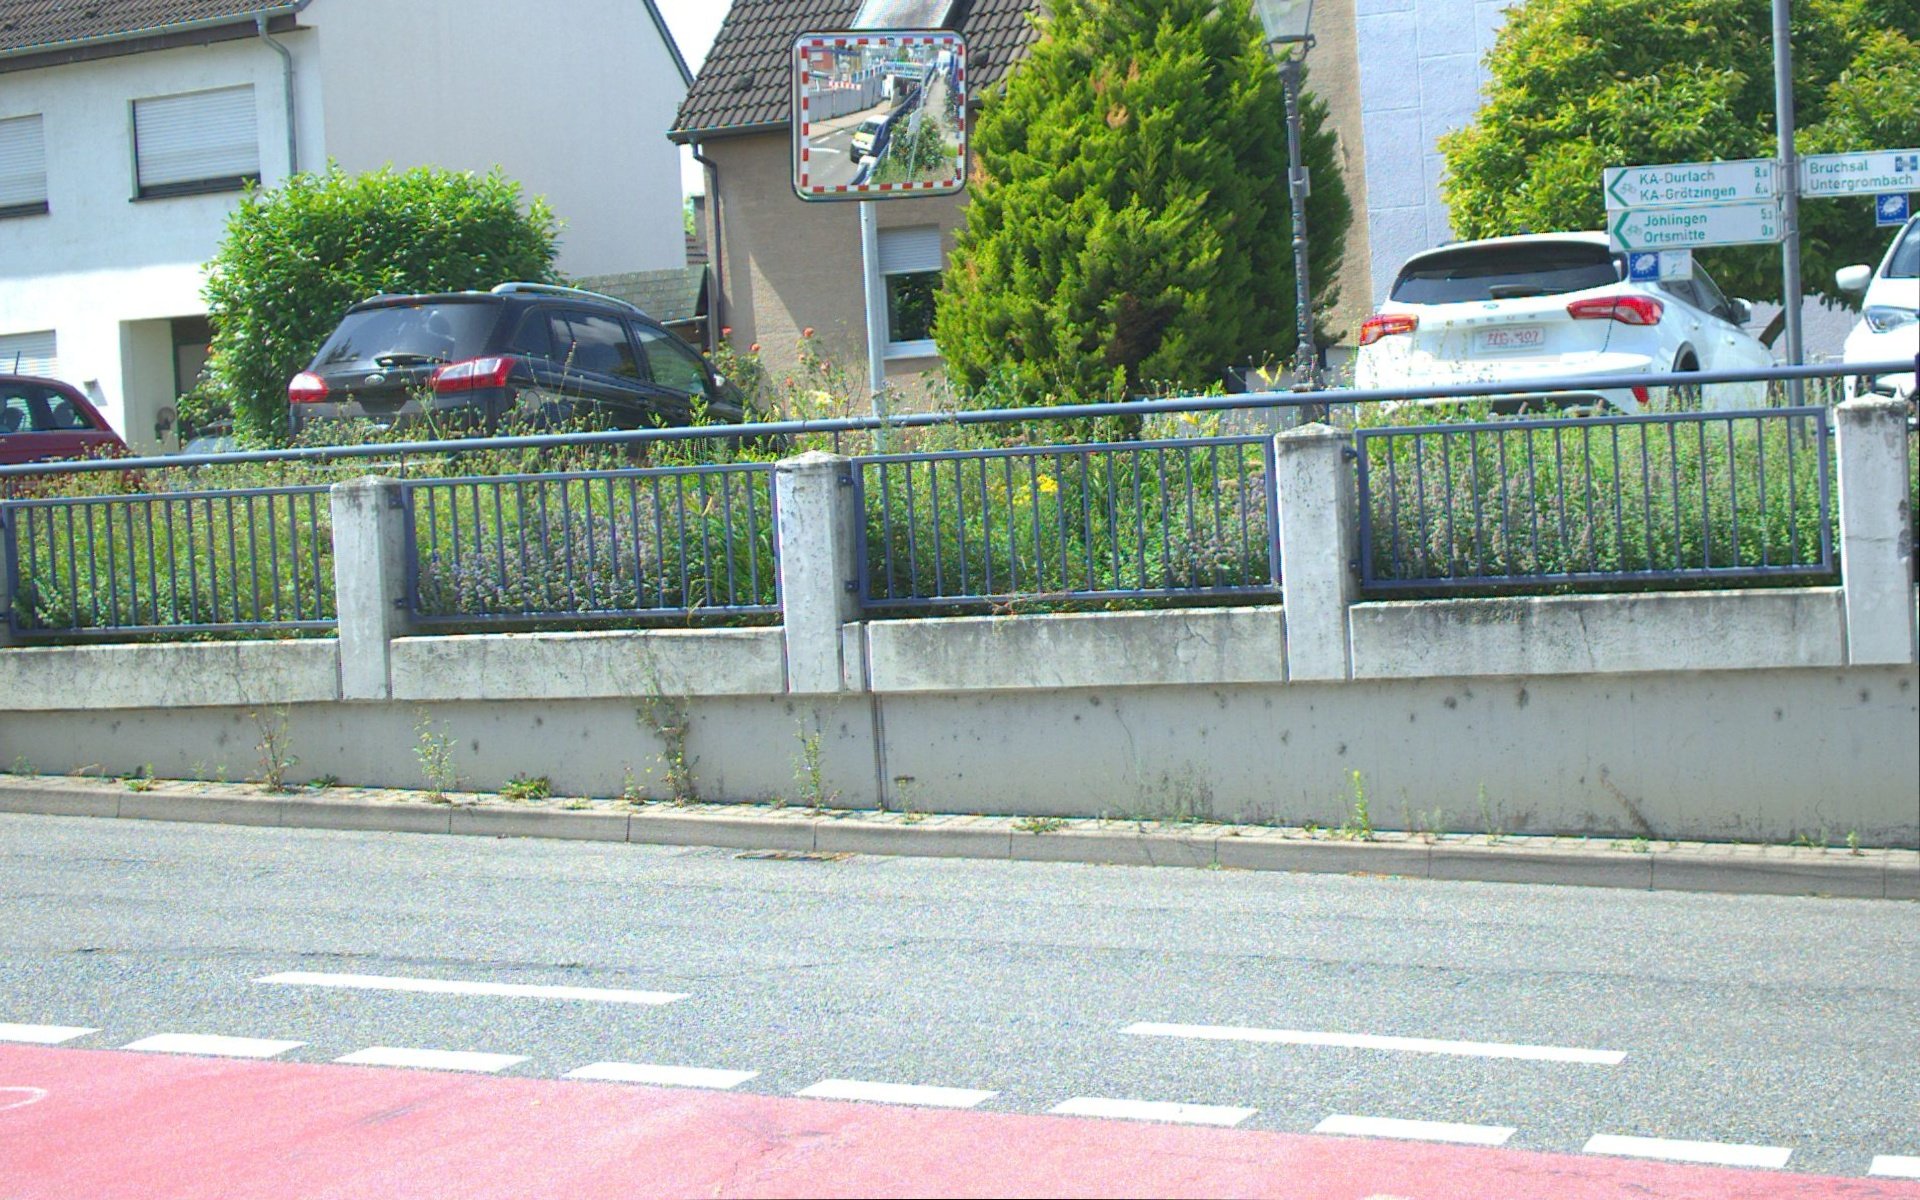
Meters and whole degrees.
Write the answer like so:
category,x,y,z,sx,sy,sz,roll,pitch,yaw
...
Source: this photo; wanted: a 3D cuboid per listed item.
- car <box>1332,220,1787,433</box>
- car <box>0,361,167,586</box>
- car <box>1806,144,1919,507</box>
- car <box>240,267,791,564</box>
category,x,y,z,sx,sy,sz,roll,pitch,yaw
car,3.523,-1.524,19.727,1.827,1.016,3.455,2,2,23
car,-7.557,-0.926,24.669,1.869,1.581,3.606,2,2,23
car,5.984,-1.386,18.738,1.996,1.791,4.192,2,2,23
car,-2.852,-1.189,22.946,1.869,1.791,3.995,2,2,23
